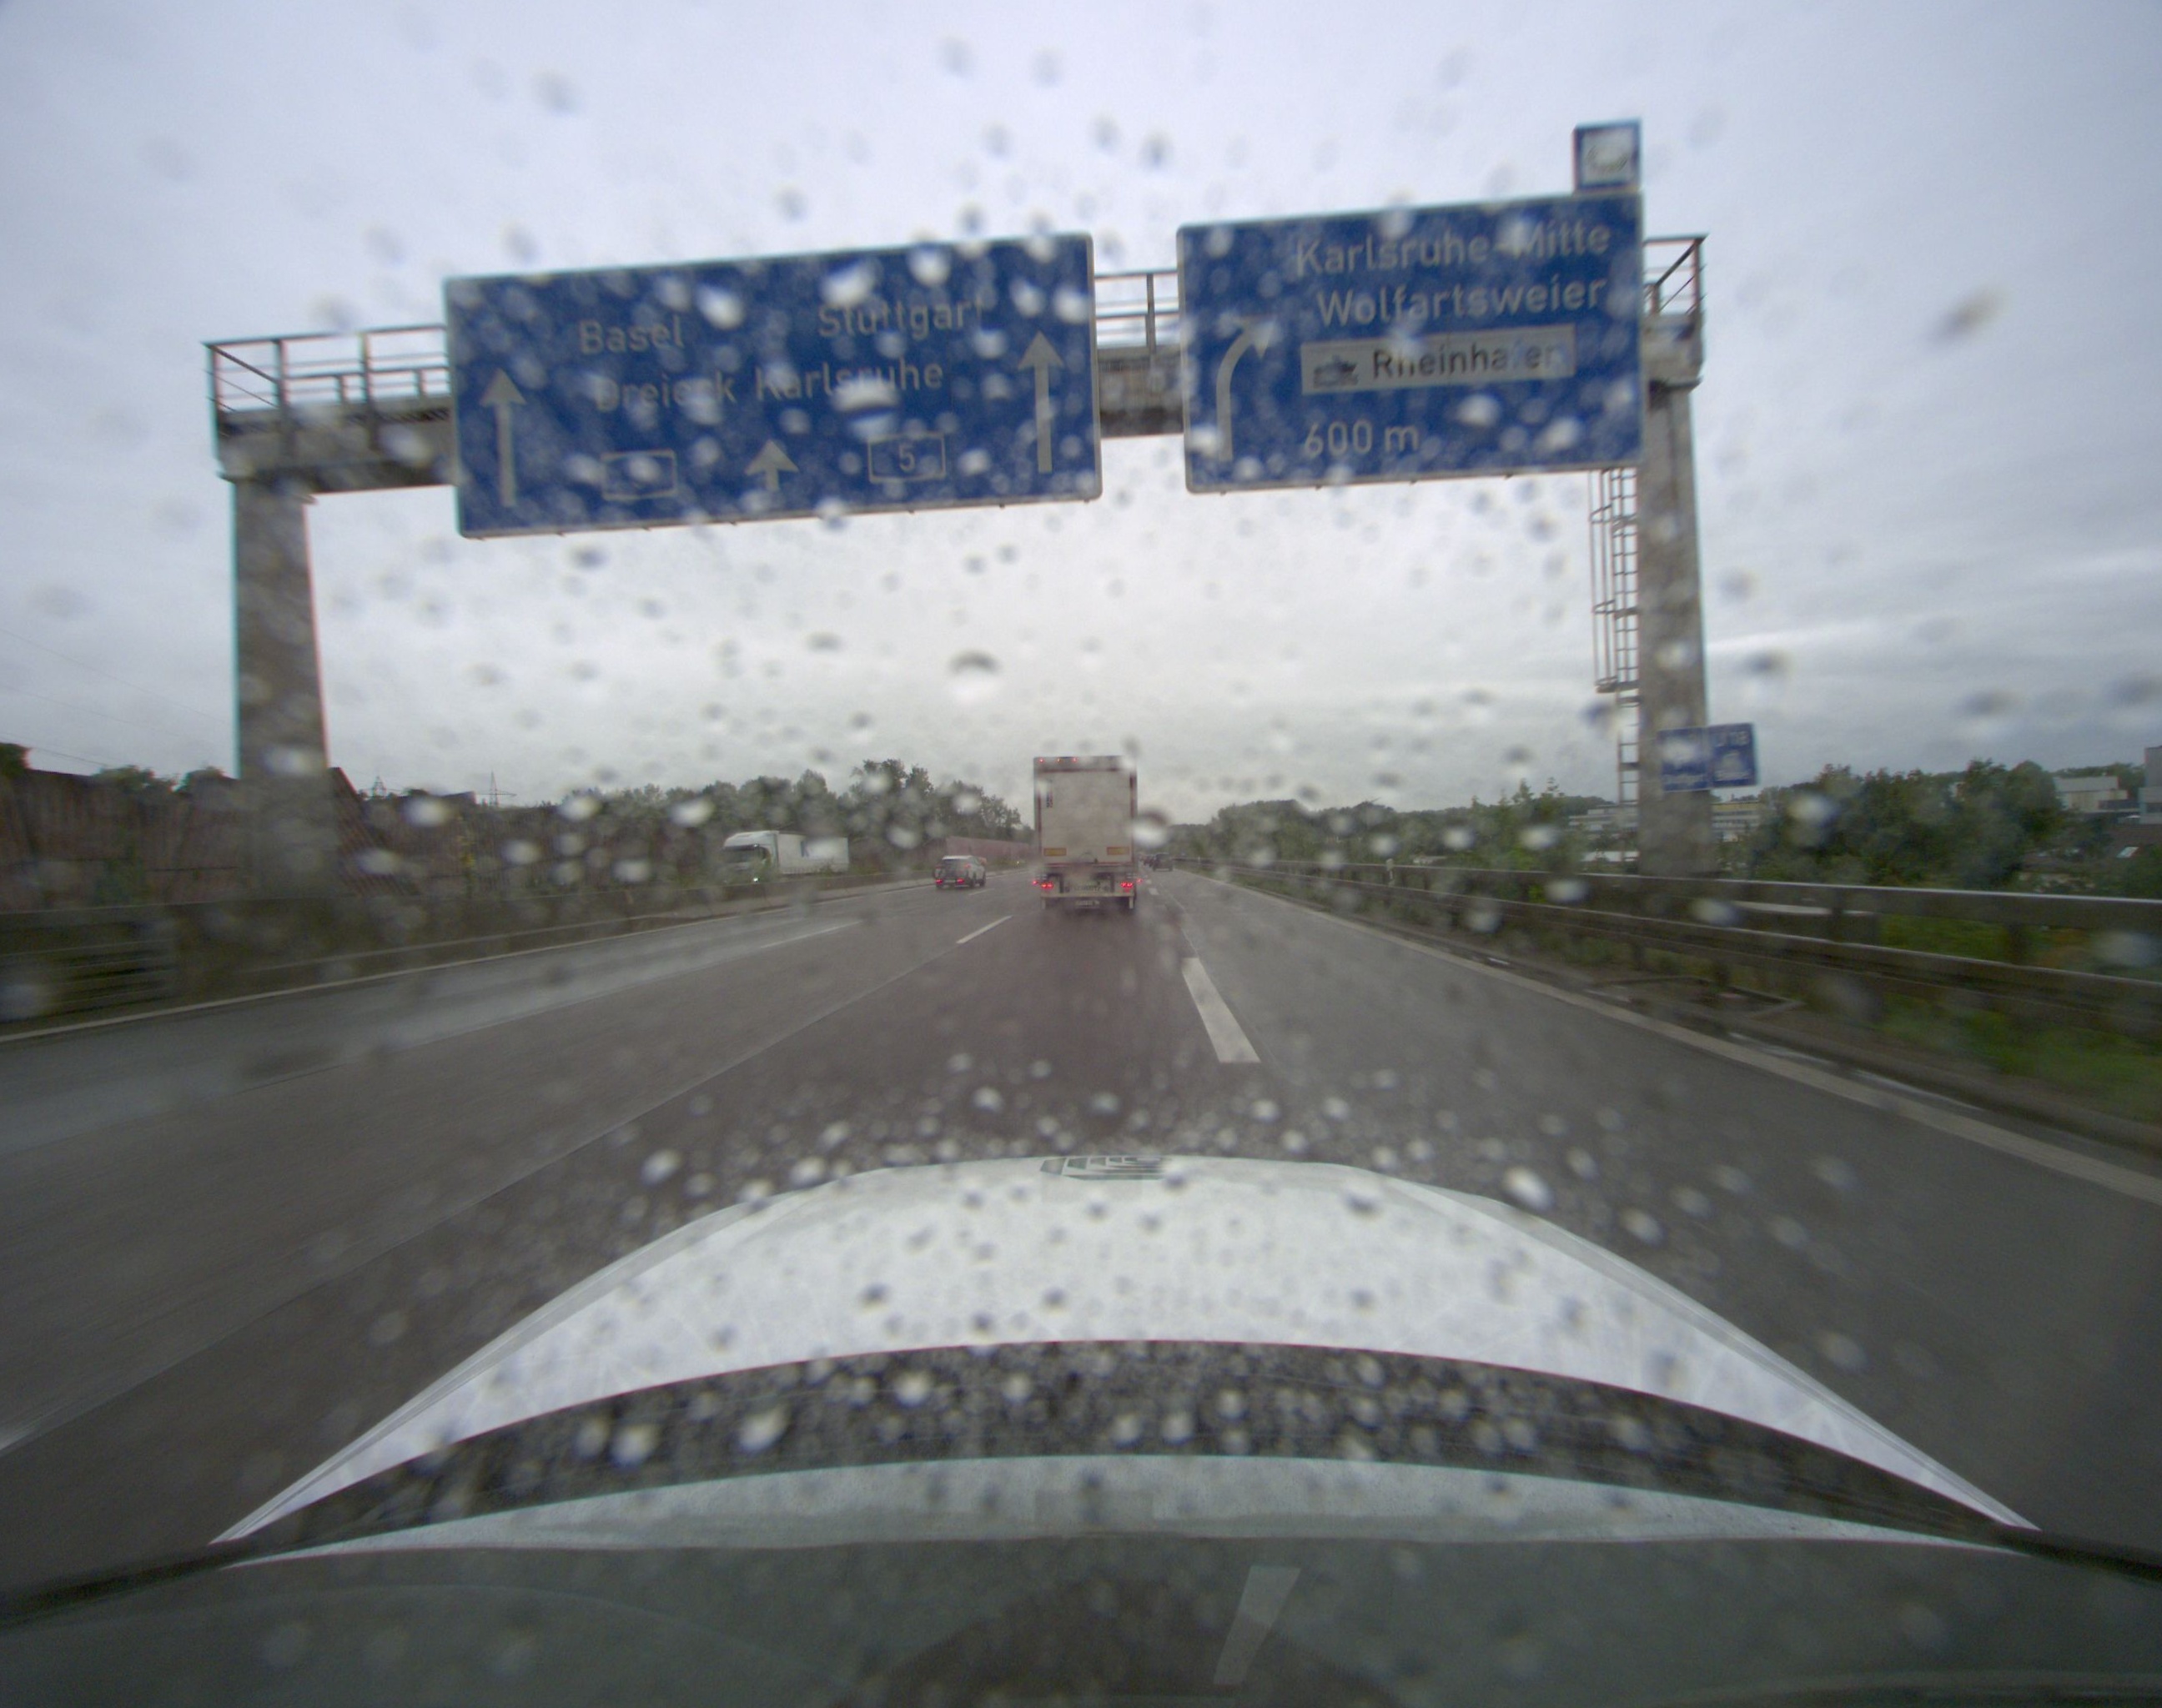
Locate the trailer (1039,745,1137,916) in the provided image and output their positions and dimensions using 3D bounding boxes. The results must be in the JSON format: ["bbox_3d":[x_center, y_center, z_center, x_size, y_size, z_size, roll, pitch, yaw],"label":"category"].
[{"bbox_3d":[0.628,-0.629,27.455,2.332,4.157,14.841,-1,0,4],"label":"trailer"}]

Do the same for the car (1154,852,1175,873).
[{"bbox_3d":[7.848,0.777,77.002,1.888,1.949,4.005,0,0,5],"label":"car"}]

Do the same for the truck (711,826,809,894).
[{"bbox_3d":[-21.211,0.372,54.326,3.043,4.186,7.894,0,0,3],"label":"truck"}]

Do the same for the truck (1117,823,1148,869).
[{"bbox_3d":[6.216,-0.897,97.691,3.519,5.183,9.902,0,0,3],"label":"truck"}]

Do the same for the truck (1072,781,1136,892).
[{"bbox_3d":[1.062,-0.686,34.222,2.332,4.157,6.352,-1,0,3],"label":"truck"}]

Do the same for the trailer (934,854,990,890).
[{"bbox_3d":[-5.784,0.830,40.079,1.807,1.624,4.572,-1,0,3],"label":"trailer"}]

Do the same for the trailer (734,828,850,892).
[{"bbox_3d":[-20.917,0.376,60.277,3.043,4.186,13.581,0,0,3],"label":"trailer"}]
